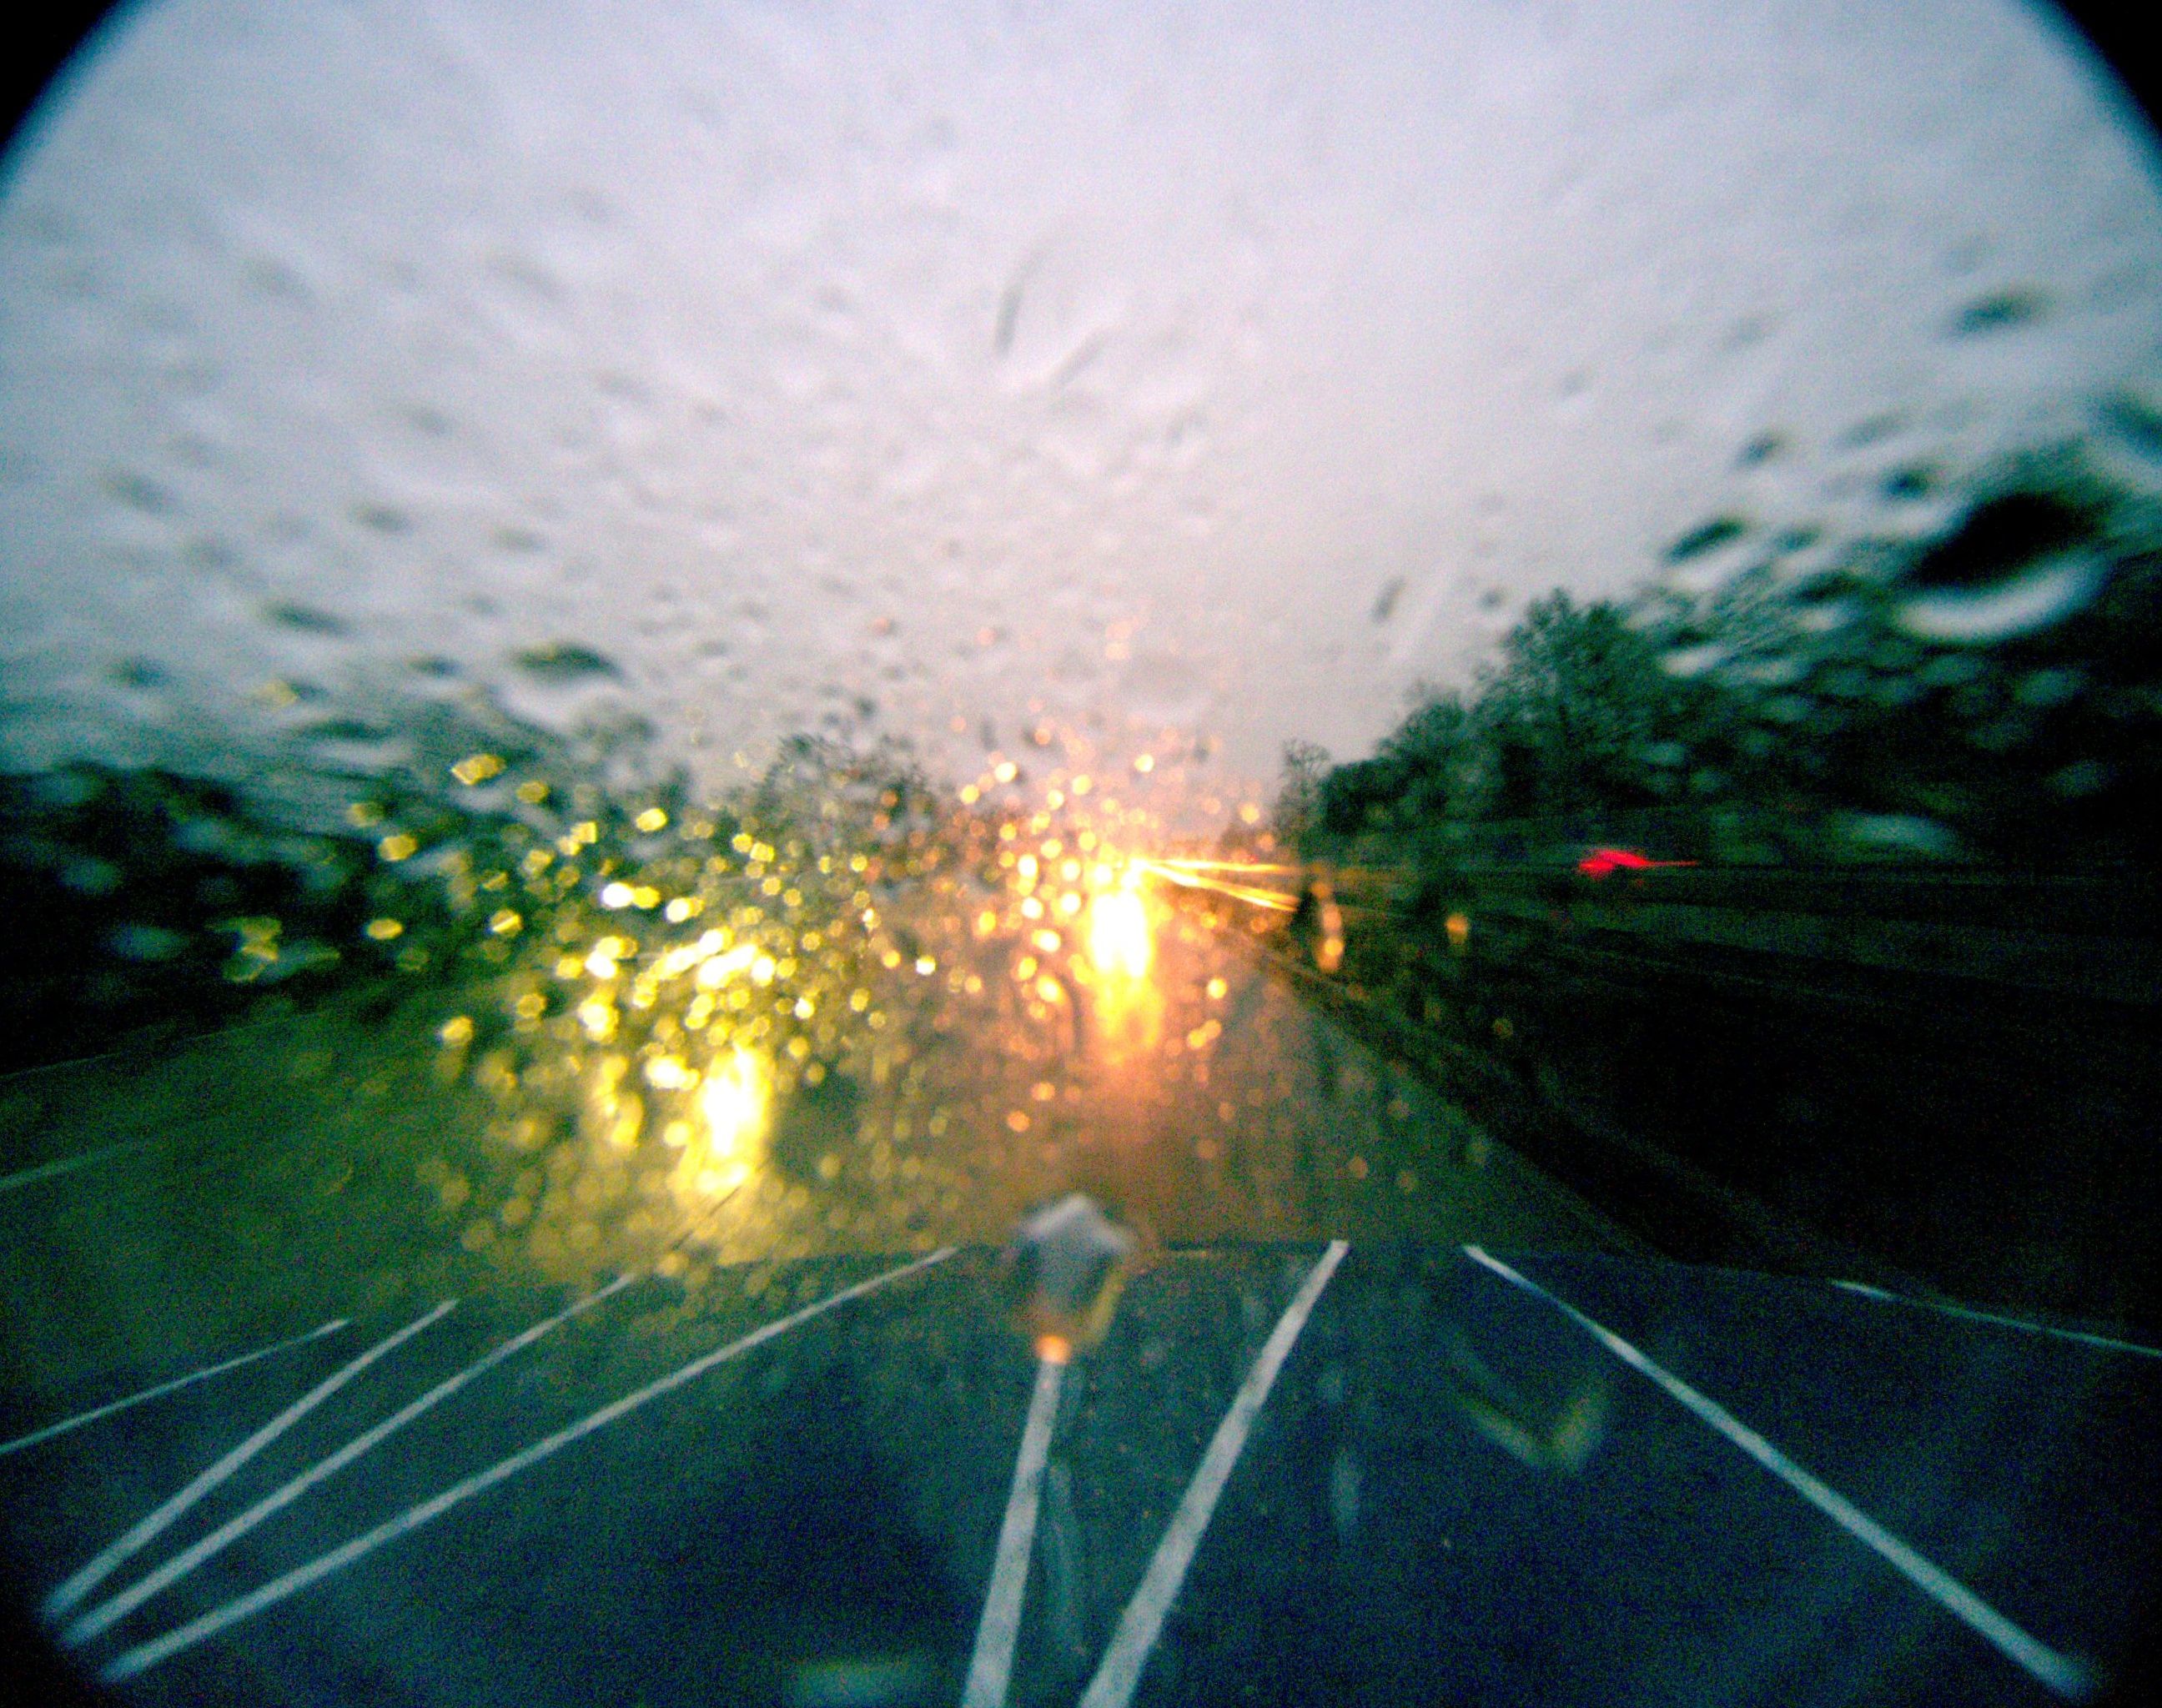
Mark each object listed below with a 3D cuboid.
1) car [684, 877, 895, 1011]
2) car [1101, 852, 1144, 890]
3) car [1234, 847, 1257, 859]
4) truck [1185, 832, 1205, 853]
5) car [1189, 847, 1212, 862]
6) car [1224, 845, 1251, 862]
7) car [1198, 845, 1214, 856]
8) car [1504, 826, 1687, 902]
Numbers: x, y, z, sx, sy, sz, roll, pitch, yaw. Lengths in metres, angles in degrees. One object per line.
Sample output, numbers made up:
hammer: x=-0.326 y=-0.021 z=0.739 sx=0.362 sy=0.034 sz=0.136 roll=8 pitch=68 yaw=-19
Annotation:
car: x=-4.024 y=1.151 z=11.258 sx=1.595 sy=1.445 sz=4.175 roll=-2 pitch=0 yaw=-2
car: x=1.865 y=0.721 z=34.363 sx=1.758 sy=1.521 sz=4.000 roll=-2 pitch=0 yaw=3
car: x=20.771 y=-0.151 z=96.046 sx=1.998 sy=1.505 sz=4.797 roll=-2 pitch=0 yaw=3
truck: x=22.426 y=-2.221 z=149.638 sx=3.084 sy=3.834 sz=9.371 roll=-2 pitch=0 yaw=5
car: x=12.614 y=0.043 z=80.168 sx=1.869 sy=1.473 sz=4.672 roll=-2 pitch=0 yaw=3
car: x=15.682 y=-0.072 z=76.320 sx=1.998 sy=1.505 sz=4.284 roll=-2 pitch=0 yaw=3
car: x=19.566 y=-0.608 z=118.733 sx=1.998 sy=1.639 sz=4.001 roll=-2 pitch=0 yaw=3
car: x=12.474 y=0.202 z=18.790 sx=1.731 sy=1.598 sz=4.179 roll=-2 pitch=0 yaw=1
